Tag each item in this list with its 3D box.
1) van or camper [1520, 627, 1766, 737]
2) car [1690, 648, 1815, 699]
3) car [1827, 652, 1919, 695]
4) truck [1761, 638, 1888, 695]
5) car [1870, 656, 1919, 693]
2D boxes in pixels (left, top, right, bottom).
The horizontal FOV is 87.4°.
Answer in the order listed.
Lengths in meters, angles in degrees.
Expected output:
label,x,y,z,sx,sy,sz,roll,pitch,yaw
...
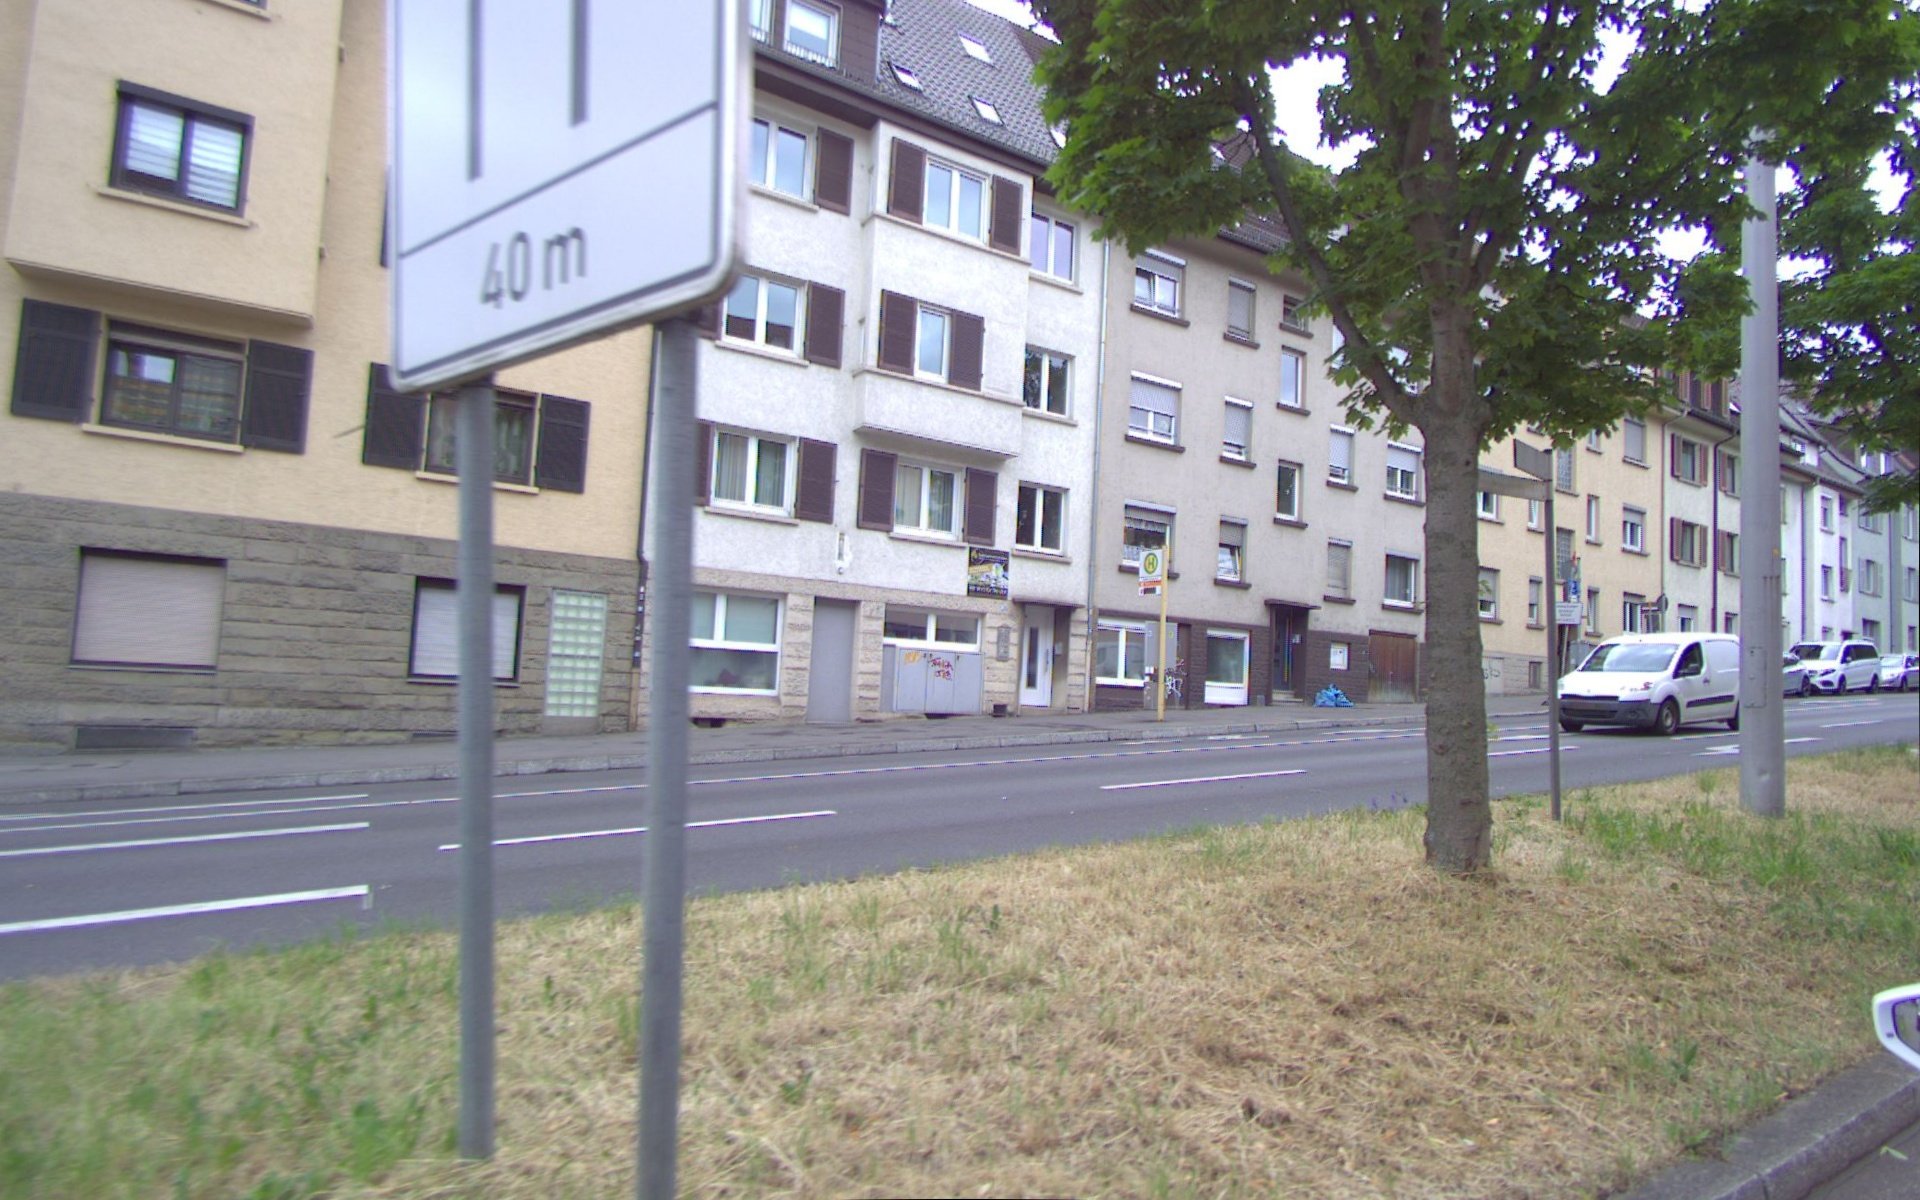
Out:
label,x,y,z,sx,sy,sz,roll,pitch,yaw
van or camper,12.487,1.467,18.321,4.601,1.784,1.899,2,-4,-31
car,26.440,2.437,33.476,4.112,1.572,1.983,3,-4,-32
car,36.073,2.873,39.339,4.333,1.572,1.983,3,-4,-32
truck,31.428,2.429,36.490,5.288,1.945,1.983,3,-4,-32
car,40.230,3.103,42.078,4.110,1.493,1.984,3,-4,-31
